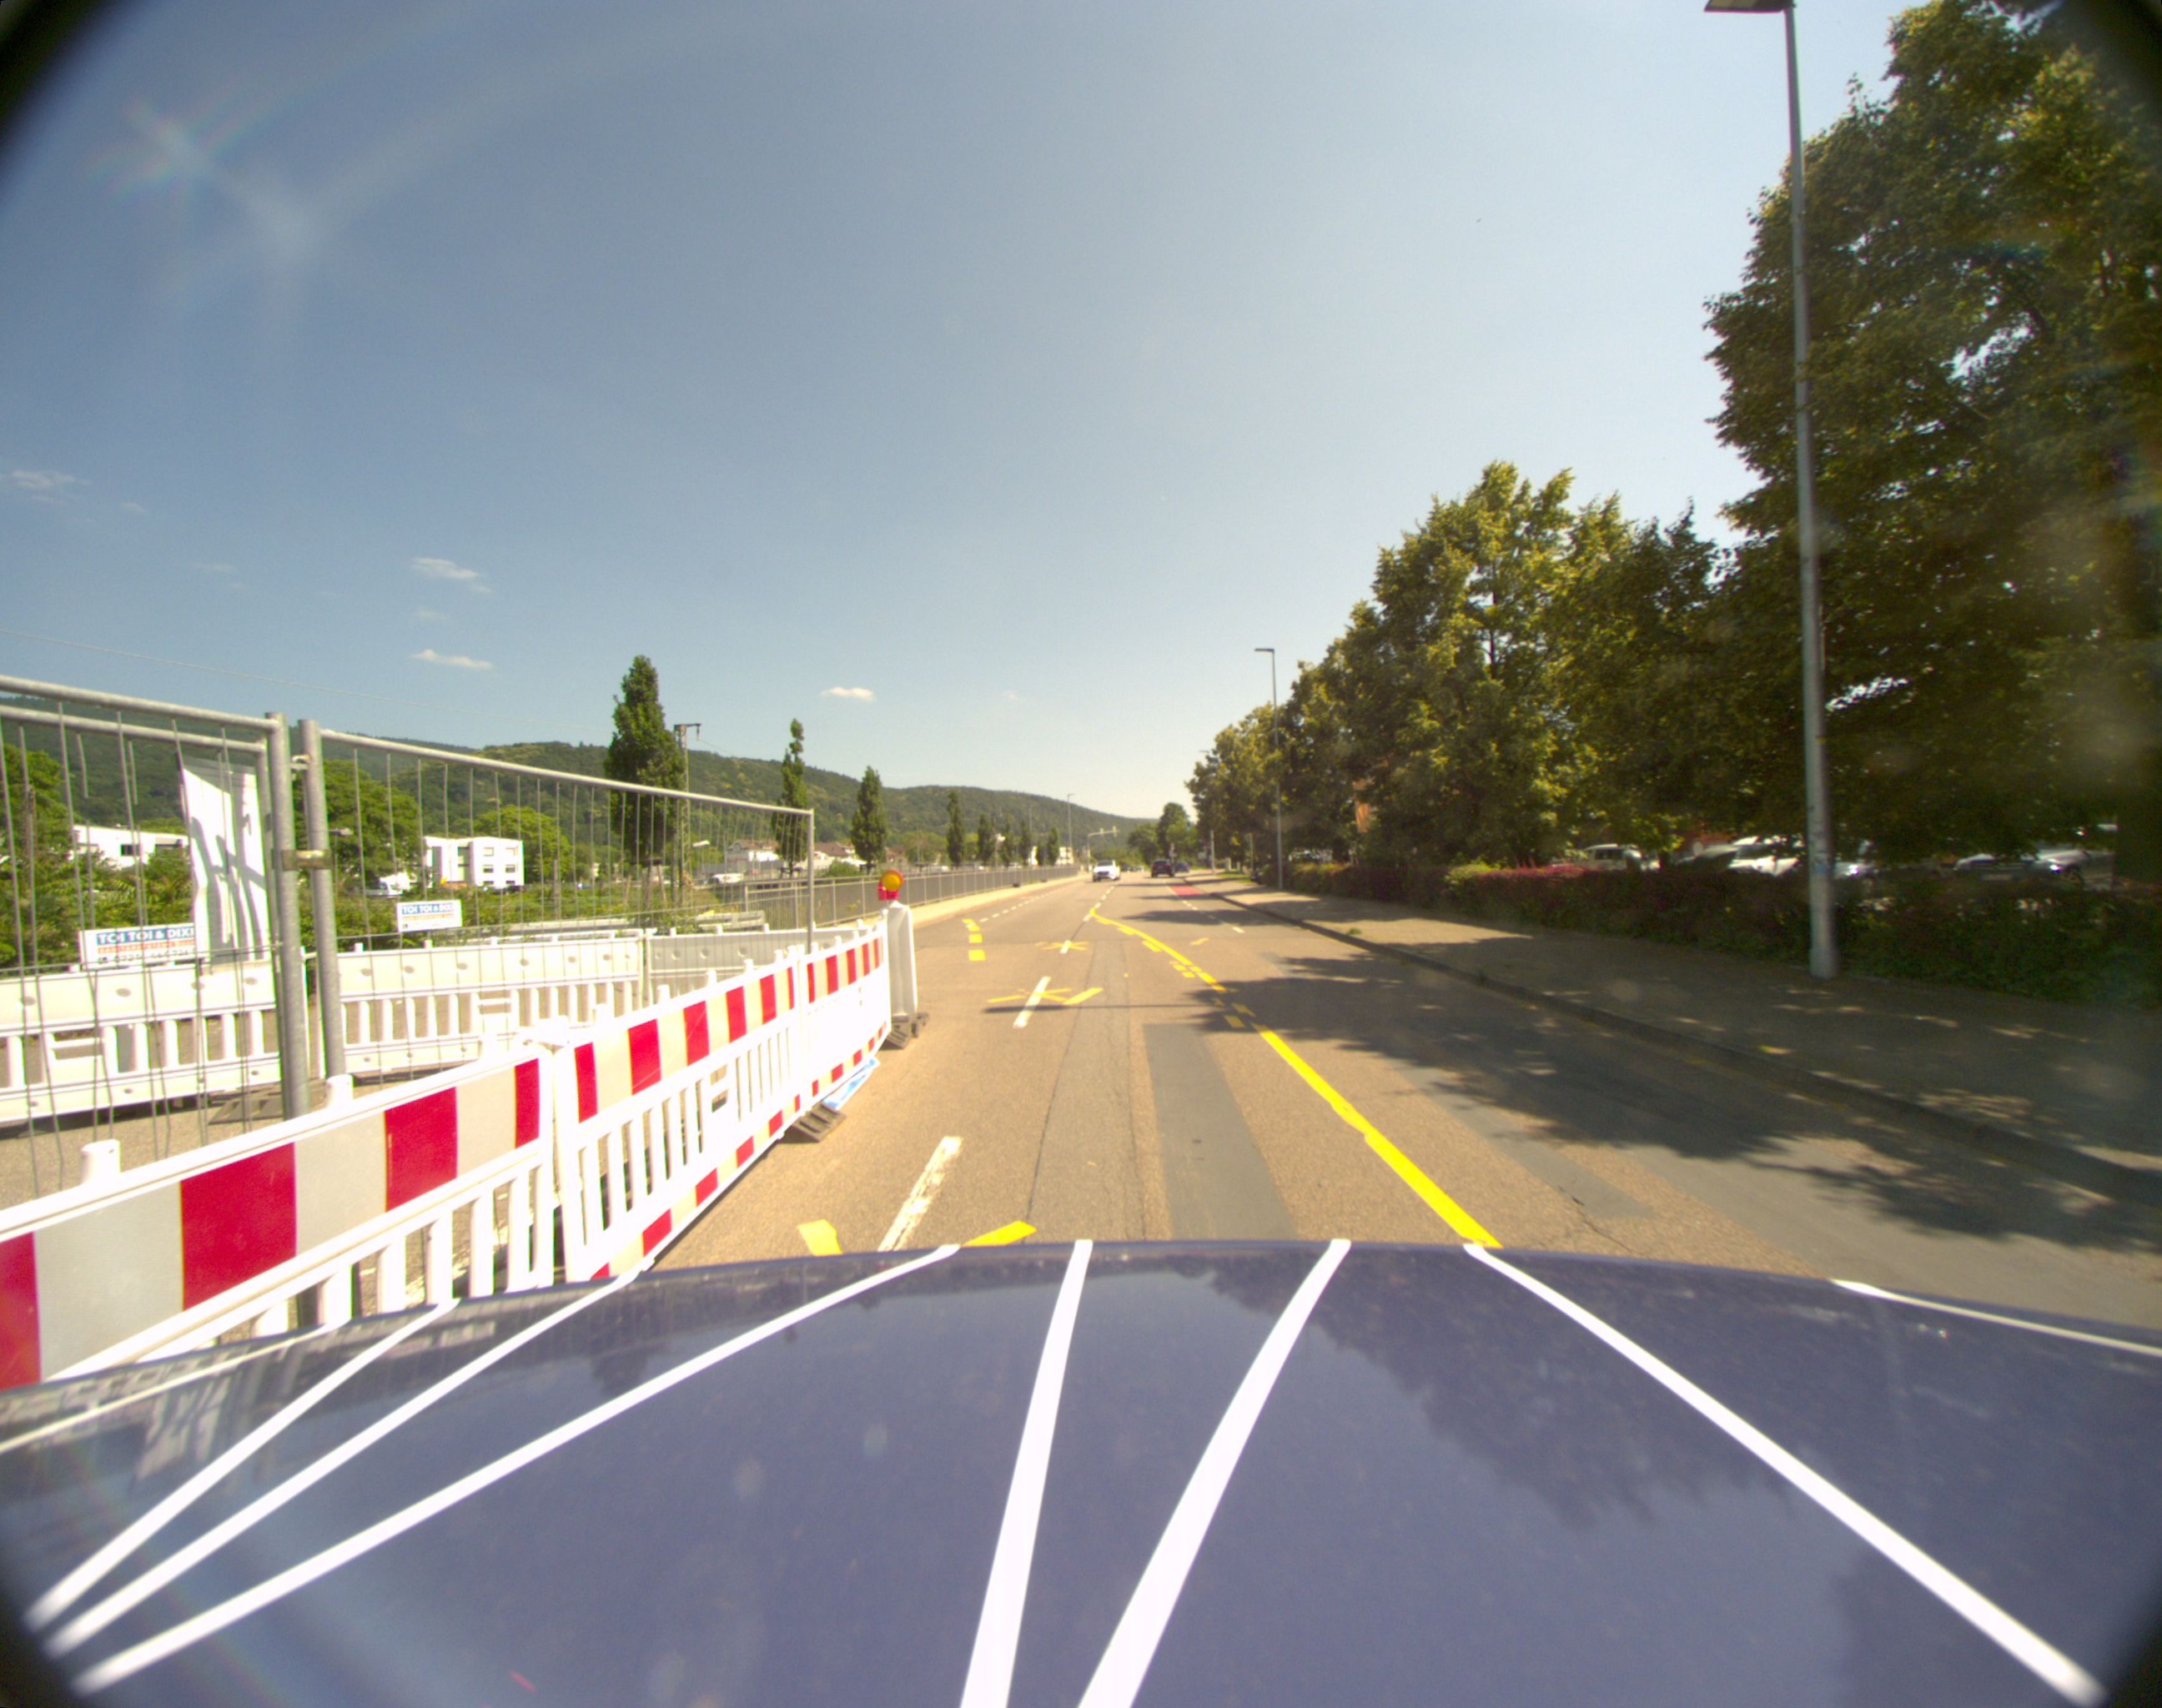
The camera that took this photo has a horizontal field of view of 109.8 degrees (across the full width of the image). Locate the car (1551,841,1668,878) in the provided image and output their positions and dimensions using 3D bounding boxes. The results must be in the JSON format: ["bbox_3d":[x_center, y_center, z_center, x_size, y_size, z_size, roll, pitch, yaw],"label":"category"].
[{"bbox_3d":[24.264,0.244,35.086,1.922,1.543,4.137,-2,0,-14],"label":"car"}]

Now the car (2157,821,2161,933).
[{"bbox_3d":[17.082,0.330,9.214,1.861,1.676,4.367,0,0,-1],"label":"car"}]

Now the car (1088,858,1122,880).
[{"bbox_3d":[2.045,1.190,62.525,1.997,1.635,5.035,-1,0,11],"label":"car"}]

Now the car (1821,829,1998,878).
[{"bbox_3d":[32.691,0.004,30.191,1.863,1.676,4.363,-4,0,-12],"label":"car"}]

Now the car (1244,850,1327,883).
[{"bbox_3d":[10.997,0.681,41.018,3.995,1.455,1.881,-4,0,6],"label":"car"}]

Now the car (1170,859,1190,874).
[{"bbox_3d":[11.471,1.454,88.562,1.998,1.635,4.529,-1,0,4],"label":"car"}]

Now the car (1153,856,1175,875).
[{"bbox_3d":[7.736,1.048,71.182,1.998,1.635,4.530,-1,0,5],"label":"car"}]

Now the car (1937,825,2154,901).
[{"bbox_3d":[24.359,0.202,19.218,4.369,1.676,1.860,-2,0,-16],"label":"car"}]

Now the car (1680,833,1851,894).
[{"bbox_3d":[21.197,0.288,23.565,4.314,1.676,1.860,-2,0,-15],"label":"car"}]
